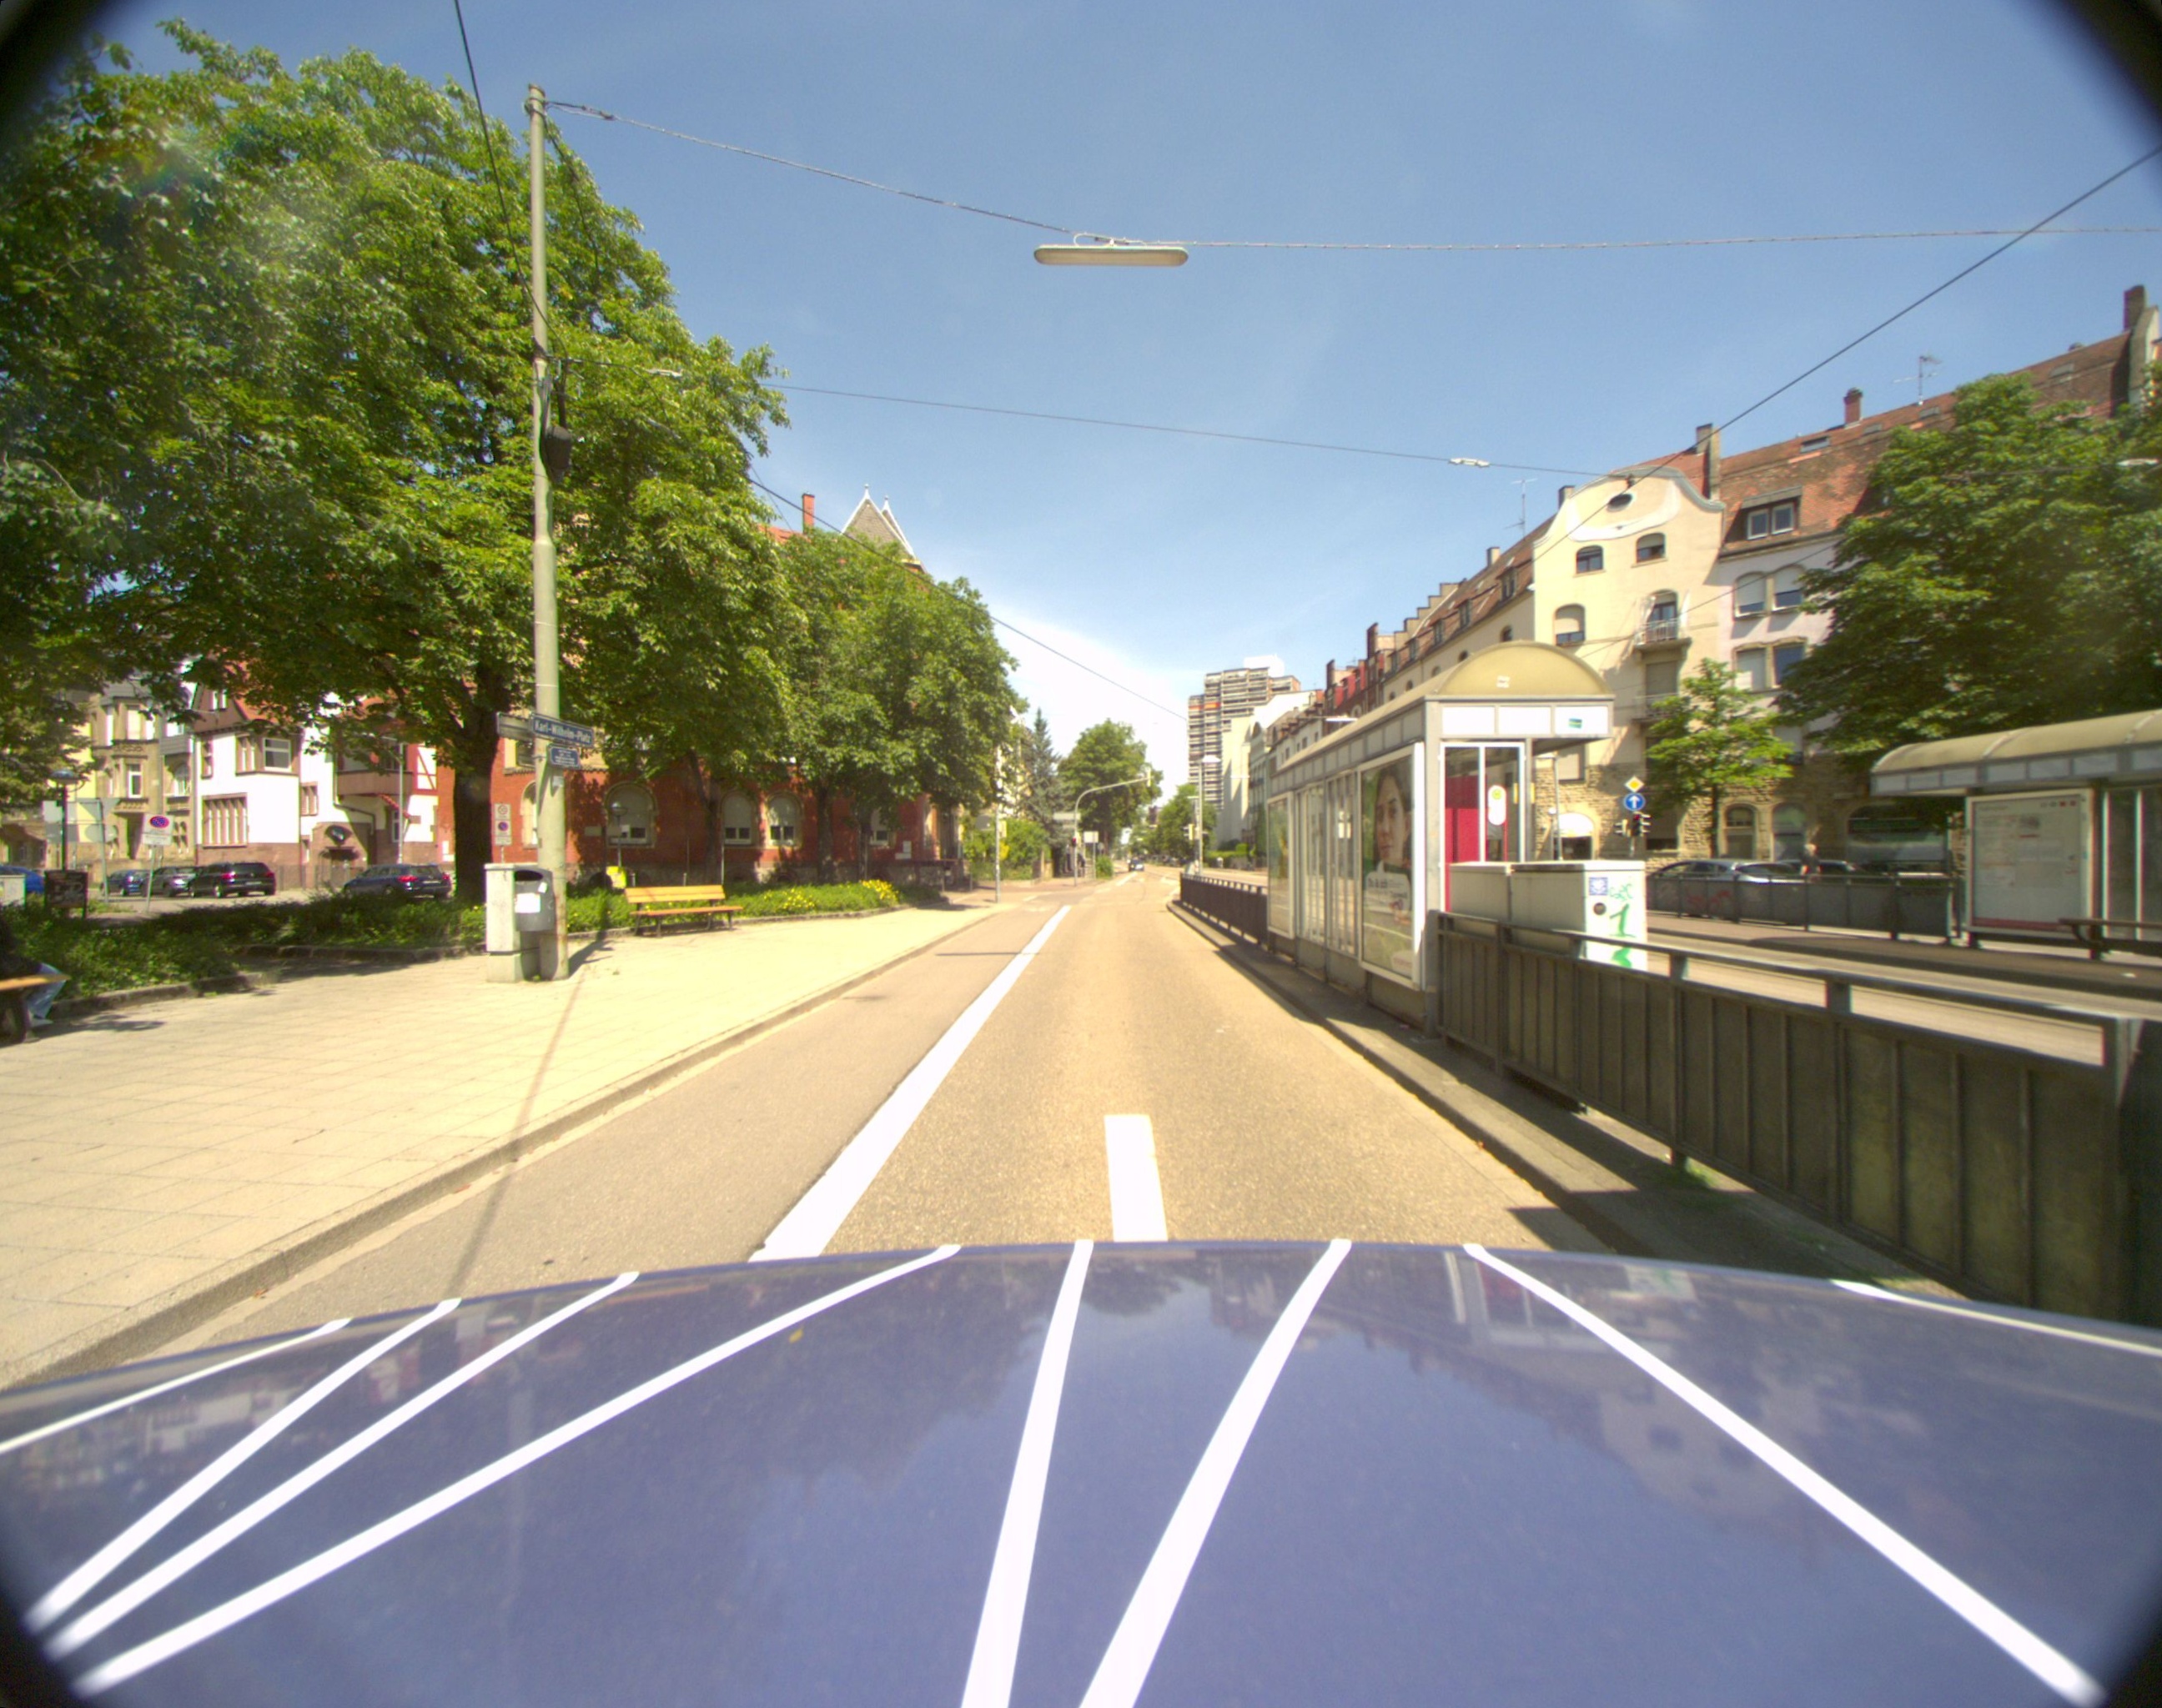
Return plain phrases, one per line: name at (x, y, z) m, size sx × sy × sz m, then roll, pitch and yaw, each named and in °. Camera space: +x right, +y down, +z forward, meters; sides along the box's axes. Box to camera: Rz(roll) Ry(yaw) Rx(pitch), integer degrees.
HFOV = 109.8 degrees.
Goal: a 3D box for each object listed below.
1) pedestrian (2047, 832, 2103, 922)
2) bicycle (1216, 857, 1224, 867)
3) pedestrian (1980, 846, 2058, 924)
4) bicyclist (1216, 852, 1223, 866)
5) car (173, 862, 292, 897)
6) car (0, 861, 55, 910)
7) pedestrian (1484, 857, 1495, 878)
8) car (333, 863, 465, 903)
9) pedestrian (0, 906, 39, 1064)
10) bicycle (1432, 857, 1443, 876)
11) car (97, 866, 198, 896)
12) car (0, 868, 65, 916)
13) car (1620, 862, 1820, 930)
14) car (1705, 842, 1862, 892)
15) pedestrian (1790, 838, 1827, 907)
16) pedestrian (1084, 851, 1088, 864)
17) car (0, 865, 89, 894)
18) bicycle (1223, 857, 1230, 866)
pedestrian at (20.913, 0.473, 15.991) m, size 0.511 × 1.868 × 0.494 m, roll -1°, pitch 1°, yaw 6°
bicycle at (16.018, 0.881, 87.751) m, size 0.629 × 1.150 × 1.978 m, roll -1°, pitch 0°, yaw 1°
pedestrian at (19.676, 0.637, 15.954) m, size 0.681 × 1.596 × 0.773 m, roll -1°, pitch 1°, yaw -2°
bicyclist at (15.983, 0.571, 87.723) m, size 0.609 × 1.565 × 0.585 m, roll -1°, pitch 1°, yaw 1°
car at (-40.026, 1.198, 35.836) m, size 5.477 × 1.523 × 1.991 m, roll -1°, pitch 1°, yaw 22°
car at (-37.307, 1.056, 24.777) m, size 1.723 × 1.642 × 4.273 m, roll -1°, pitch -1°, yaw 20°
pedestrian at (22.994, 0.765, 42.756) m, size 0.406 × 1.142 × 0.405 m, roll -1°, pitch 1°, yaw -2°
car at (-27.242, 1.140, 30.352) m, size 4.748 × 1.433 × 1.908 m, roll -1°, pitch 1°, yaw 21°
pedestrian at (-7.830, 0.922, 5.287) m, size 0.510 × 1.085 × 0.478 m, roll 1°, pitch 0°, yaw 7°
bicycle at (23.287, 0.793, 49.613) m, size 0.454 × 1.218 × 2.083 m, roll -1°, pitch 1°, yaw 21°
car at (-48.649, 1.393, 39.608) m, size 4.605 × 1.456 × 1.908 m, roll -1°, pitch 1°, yaw 21°
car at (-32.883, 1.126, 21.943) m, size 1.723 × 1.421 × 3.895 m, roll -1°, pitch -1°, yaw 20°
car at (14.744, 0.904, 17.818) m, size 1.544 × 1.331 × 3.718 m, roll -1°, pitch 1°, yaw 0°
car at (23.523, 0.428, 25.605) m, size 3.579 × 1.566 × 1.585 m, roll -1°, pitch 1°, yaw 24°
pedestrian at (19.443, 0.499, 20.320) m, size 0.511 × 1.812 × 0.494 m, roll -1°, pitch 1°, yaw 3°
pedestrian at (0.611, 0.428, 97.343) m, size 0.547 × 1.683 × 0.755 m, roll 0°, pitch 1°, yaw 1°
car at (-59.592, 1.449, 43.653) m, size 4.391 × 1.547 × 1.908 m, roll -1°, pitch 1°, yaw 21°
bicycle at (19.222, 0.982, 100.484) m, size 0.493 × 1.090 × 2.047 m, roll -1°, pitch 0°, yaw 1°
